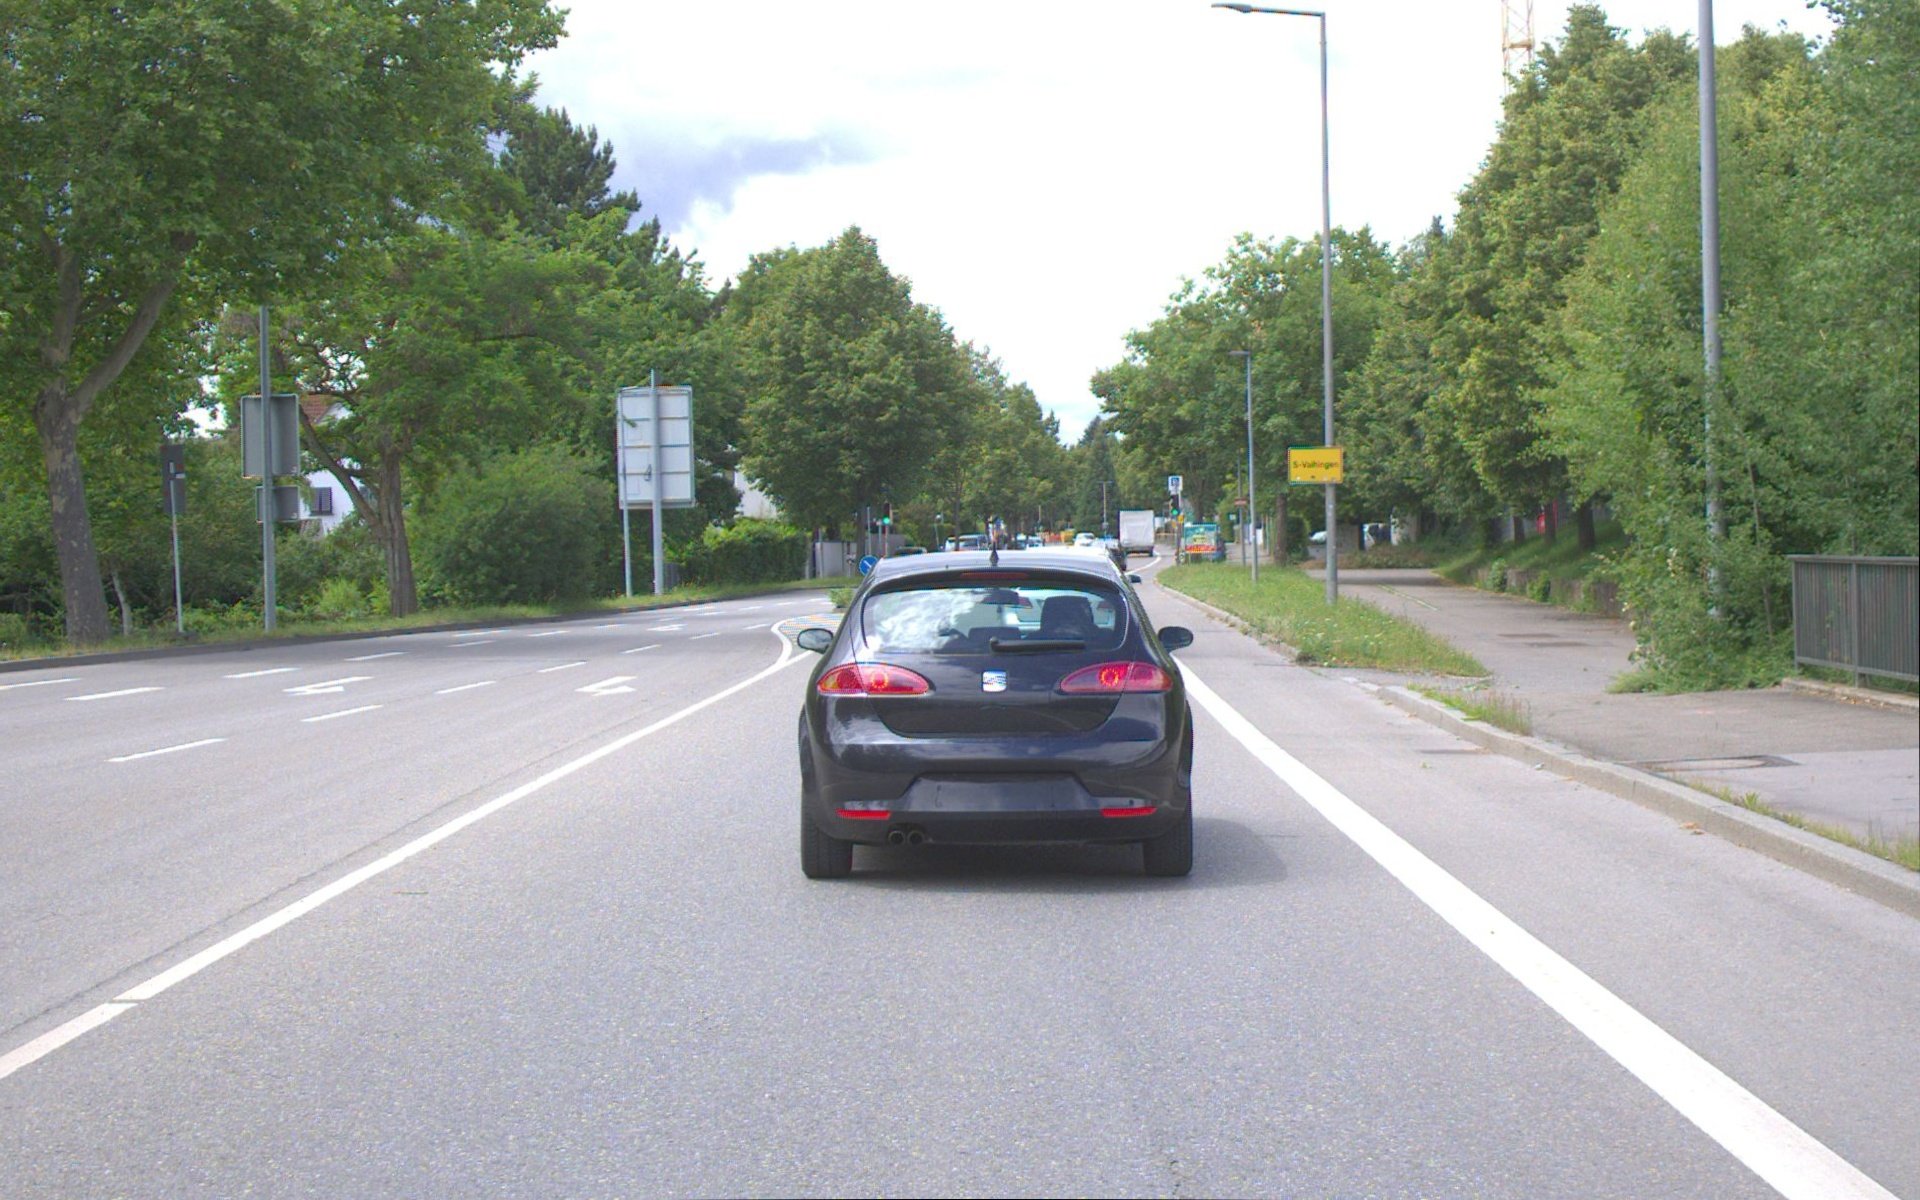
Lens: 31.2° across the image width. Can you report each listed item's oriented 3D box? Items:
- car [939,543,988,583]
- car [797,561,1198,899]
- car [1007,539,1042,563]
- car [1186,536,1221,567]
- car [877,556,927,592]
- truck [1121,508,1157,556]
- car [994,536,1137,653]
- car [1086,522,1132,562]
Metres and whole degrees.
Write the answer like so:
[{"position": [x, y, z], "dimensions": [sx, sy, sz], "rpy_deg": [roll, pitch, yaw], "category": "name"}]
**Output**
[{"position": [0.199, -1.938, 178.861], "dimensions": [2.100, 1.890, 5.783], "rpy_deg": [-3, 1, 4], "category": "car"}, {"position": [0.142, 0.519, 16.222], "dimensions": [1.663, 1.396, 3.812], "rpy_deg": [0, 1, 0], "category": "car"}, {"position": [4.444, -3.354, 235.910], "dimensions": [2.100, 1.501, 5.783], "rpy_deg": [-3, 1, 4], "category": "car"}, {"position": [12.223, -2.446, 172.447], "dimensions": [1.688, 1.485, 3.354], "rpy_deg": [-1, 1, 4], "category": "car"}, {"position": [-2.528, -1.144, 149.880], "dimensions": [1.718, 1.390, 4.801], "rpy_deg": [-3, 1, 4], "category": "car"}, {"position": [11.872, -4.485, 227.458], "dimensions": [2.279, 3.093, 8.510], "rpy_deg": [1, 1, 3], "category": "truck"}, {"position": [1.446, -0.102, 46.348], "dimensions": [1.846, 1.504, 3.811], "rpy_deg": [0, 1, 3], "category": "car"}, {"position": [6.631, -2.571, 152.751], "dimensions": [1.881, 1.683, 4.213], "rpy_deg": [-1, 1, 4], "category": "car"}]
